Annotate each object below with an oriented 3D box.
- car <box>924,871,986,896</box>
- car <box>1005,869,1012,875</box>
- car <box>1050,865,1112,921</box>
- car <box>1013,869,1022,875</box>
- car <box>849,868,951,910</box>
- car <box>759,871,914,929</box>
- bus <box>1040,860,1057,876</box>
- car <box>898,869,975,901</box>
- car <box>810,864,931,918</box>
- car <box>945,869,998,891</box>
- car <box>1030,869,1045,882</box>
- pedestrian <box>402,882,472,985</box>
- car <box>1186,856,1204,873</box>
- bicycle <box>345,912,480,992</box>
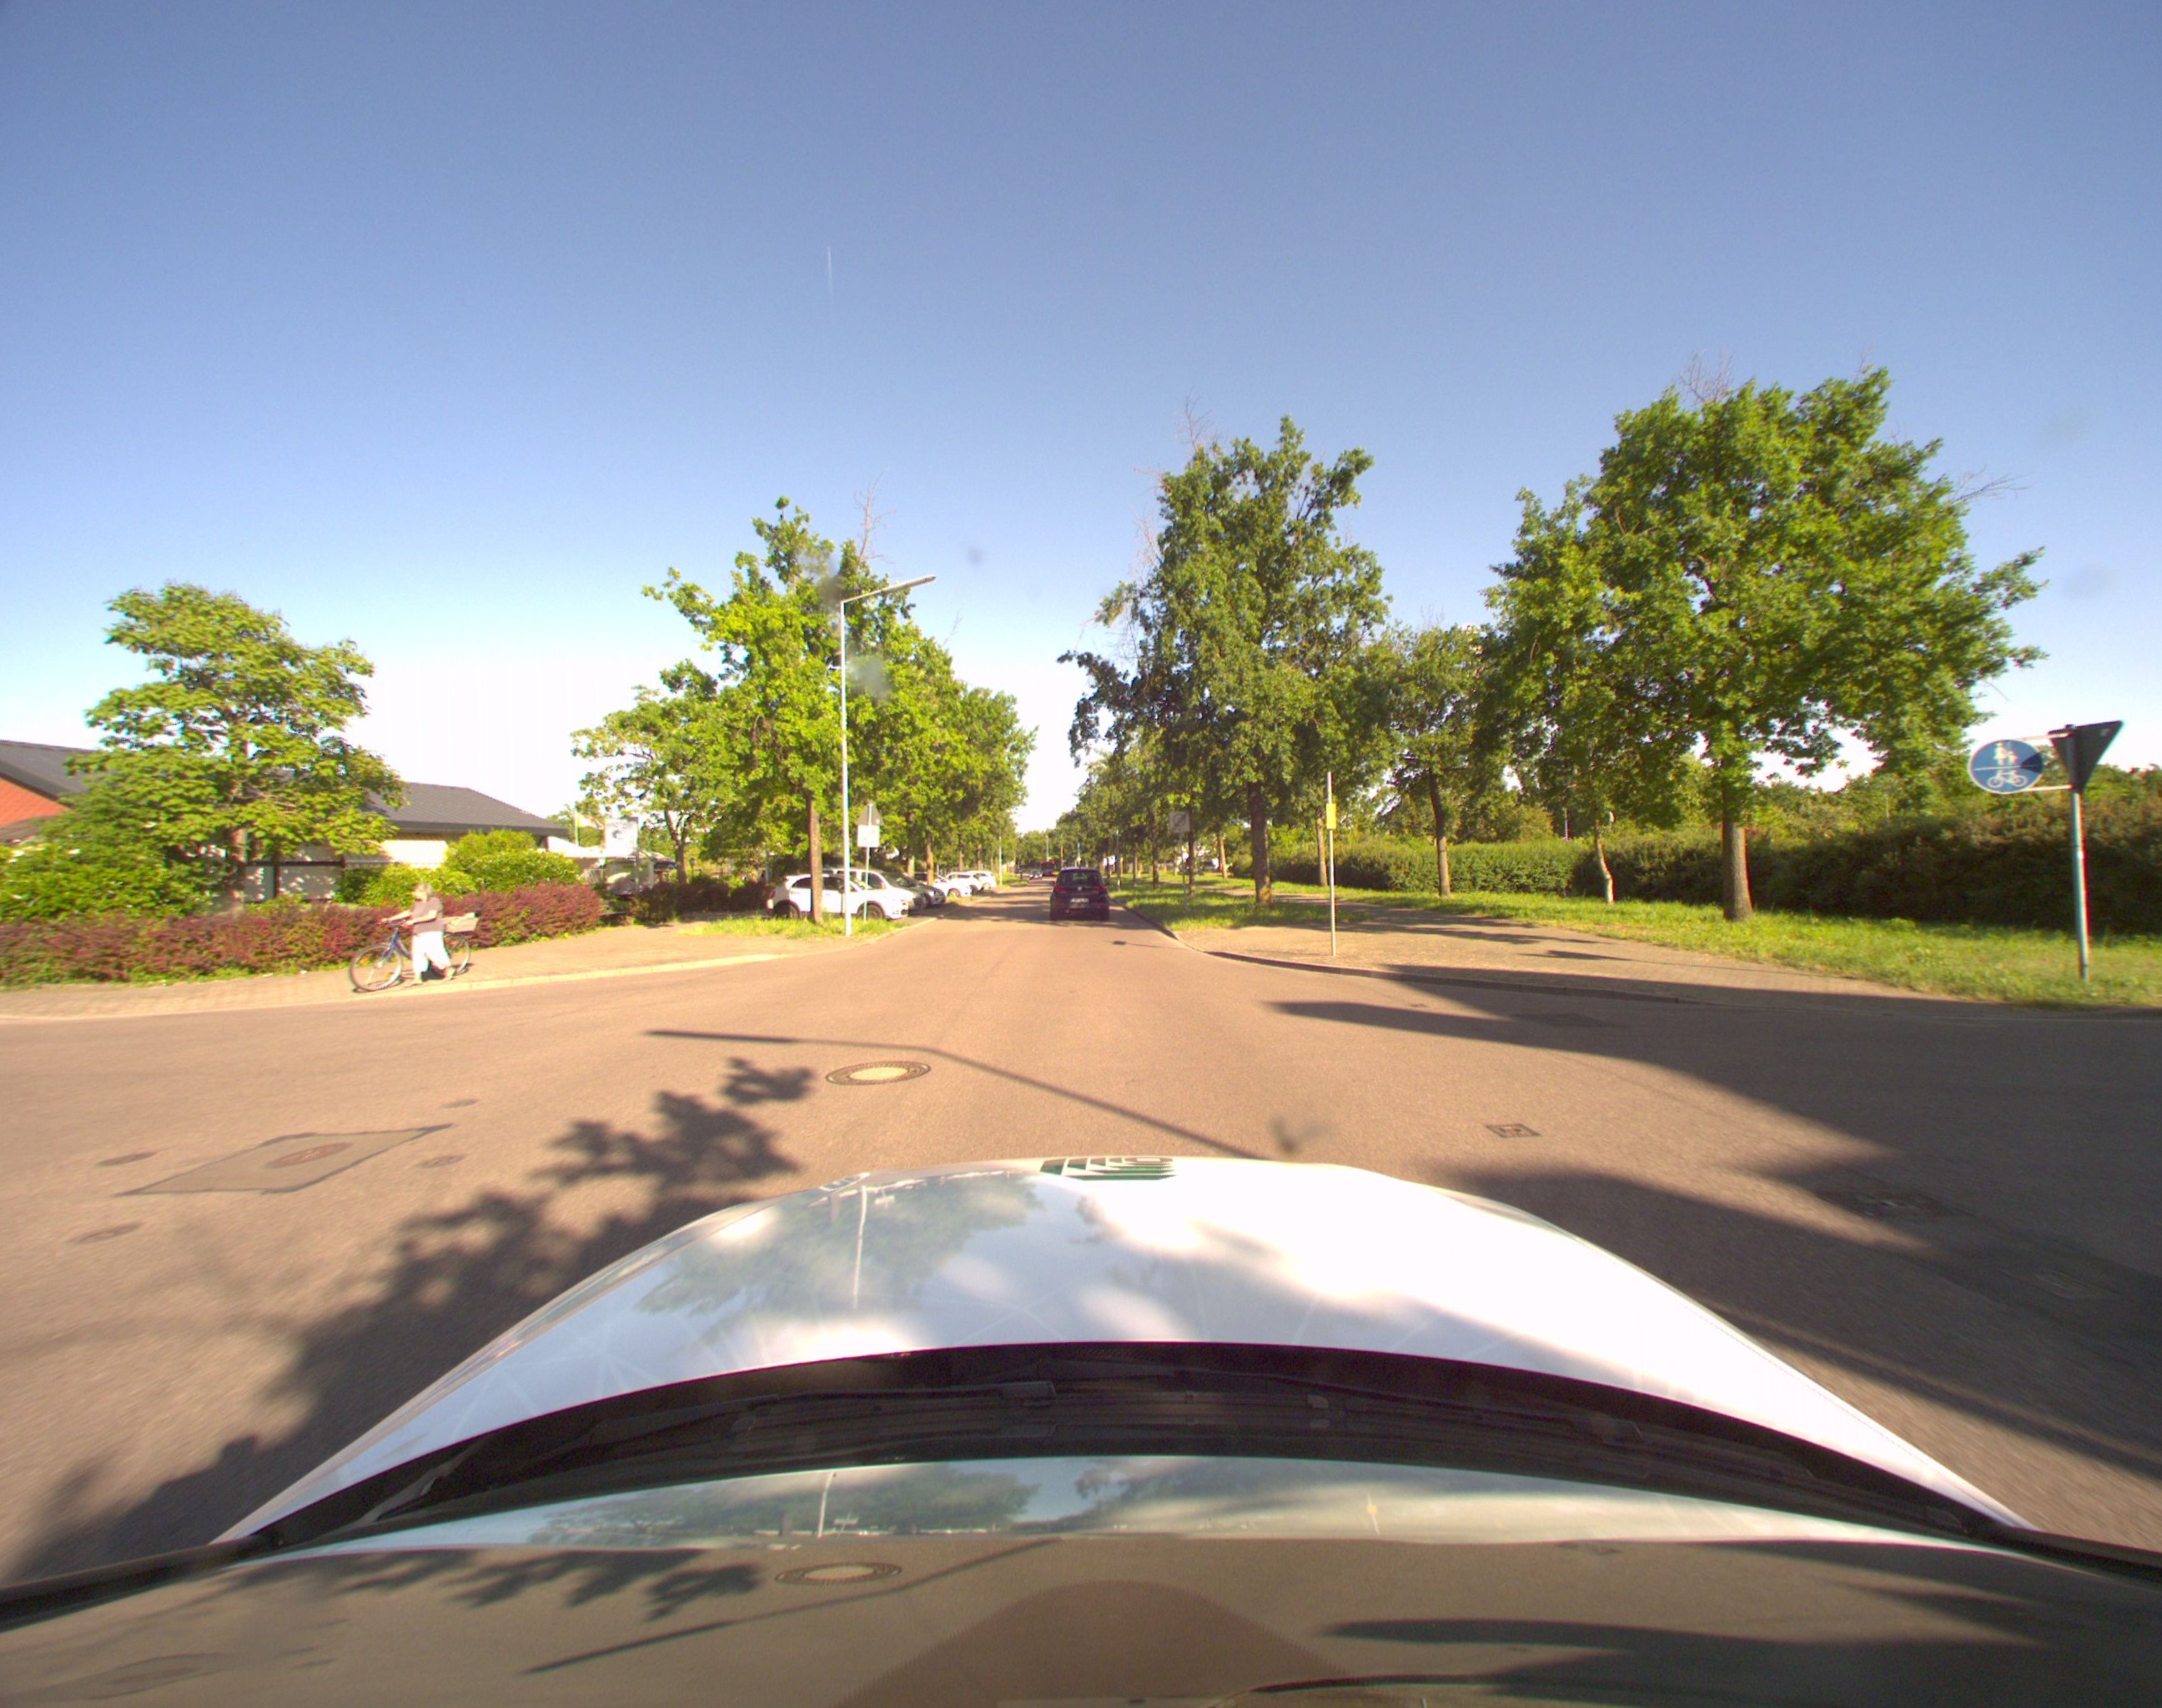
[{"bbox_3d":[-8.669,2.024,56.235,4.004,1.648,1.810,-1,-1,-1],"label":"car"},{"bbox_3d":[-22.606,5.645,253.352,1.811,1.775,3.774,-1,-2,-2],"label":"car"},{"bbox_3d":[0.023,1.195,26.299,1.832,1.636,3.957,-1,-1,0],"label":"car"},{"bbox_3d":[-16.297,4.546,208.643,1.820,1.551,3.688,-2,-1,0],"label":"car"},{"bbox_3d":[-7.875,1.500,35.781,4.004,1.647,1.896,-2,-1,-1],"label":"car"},{"bbox_3d":[-7.526,1.399,25.371,4.229,1.623,1.896,-1,-1,-1],"label":"car"},{"bbox_3d":[-6.086,2.653,155.163,2.919,3.004,5.735,-2,-2,0],"label":"bus"},{"bbox_3d":[-8.081,1.720,45.805,4.004,1.648,1.810,-1,-1,-1],"label":"car"},{"bbox_3d":[-7.880,1.359,30.755,4.004,1.840,1.896,-2,-1,-1],"label":"car"},{"bbox_3d":[-8.966,2.132,66.908,4.004,1.647,1.810,-2,-1,-1],"label":"car"},{"bbox_3d":[-6.157,3.024,115.525,1.847,1.693,3.955,-2,-1,0],"label":"car"},{"bbox_3d":[-10.131,1.230,12.840,0.439,1.557,0.801,-2,-2,3],"label":"pedestrian"},{"bbox_3d":[14.482,1.316,103.428,2.044,2.014,4.005,-2,-1,5],"label":"car"},{"bbox_3d":[-10.474,1.497,12.848,0.445,1.039,1.895,-2,-1,5],"label":"bicycle"}]
